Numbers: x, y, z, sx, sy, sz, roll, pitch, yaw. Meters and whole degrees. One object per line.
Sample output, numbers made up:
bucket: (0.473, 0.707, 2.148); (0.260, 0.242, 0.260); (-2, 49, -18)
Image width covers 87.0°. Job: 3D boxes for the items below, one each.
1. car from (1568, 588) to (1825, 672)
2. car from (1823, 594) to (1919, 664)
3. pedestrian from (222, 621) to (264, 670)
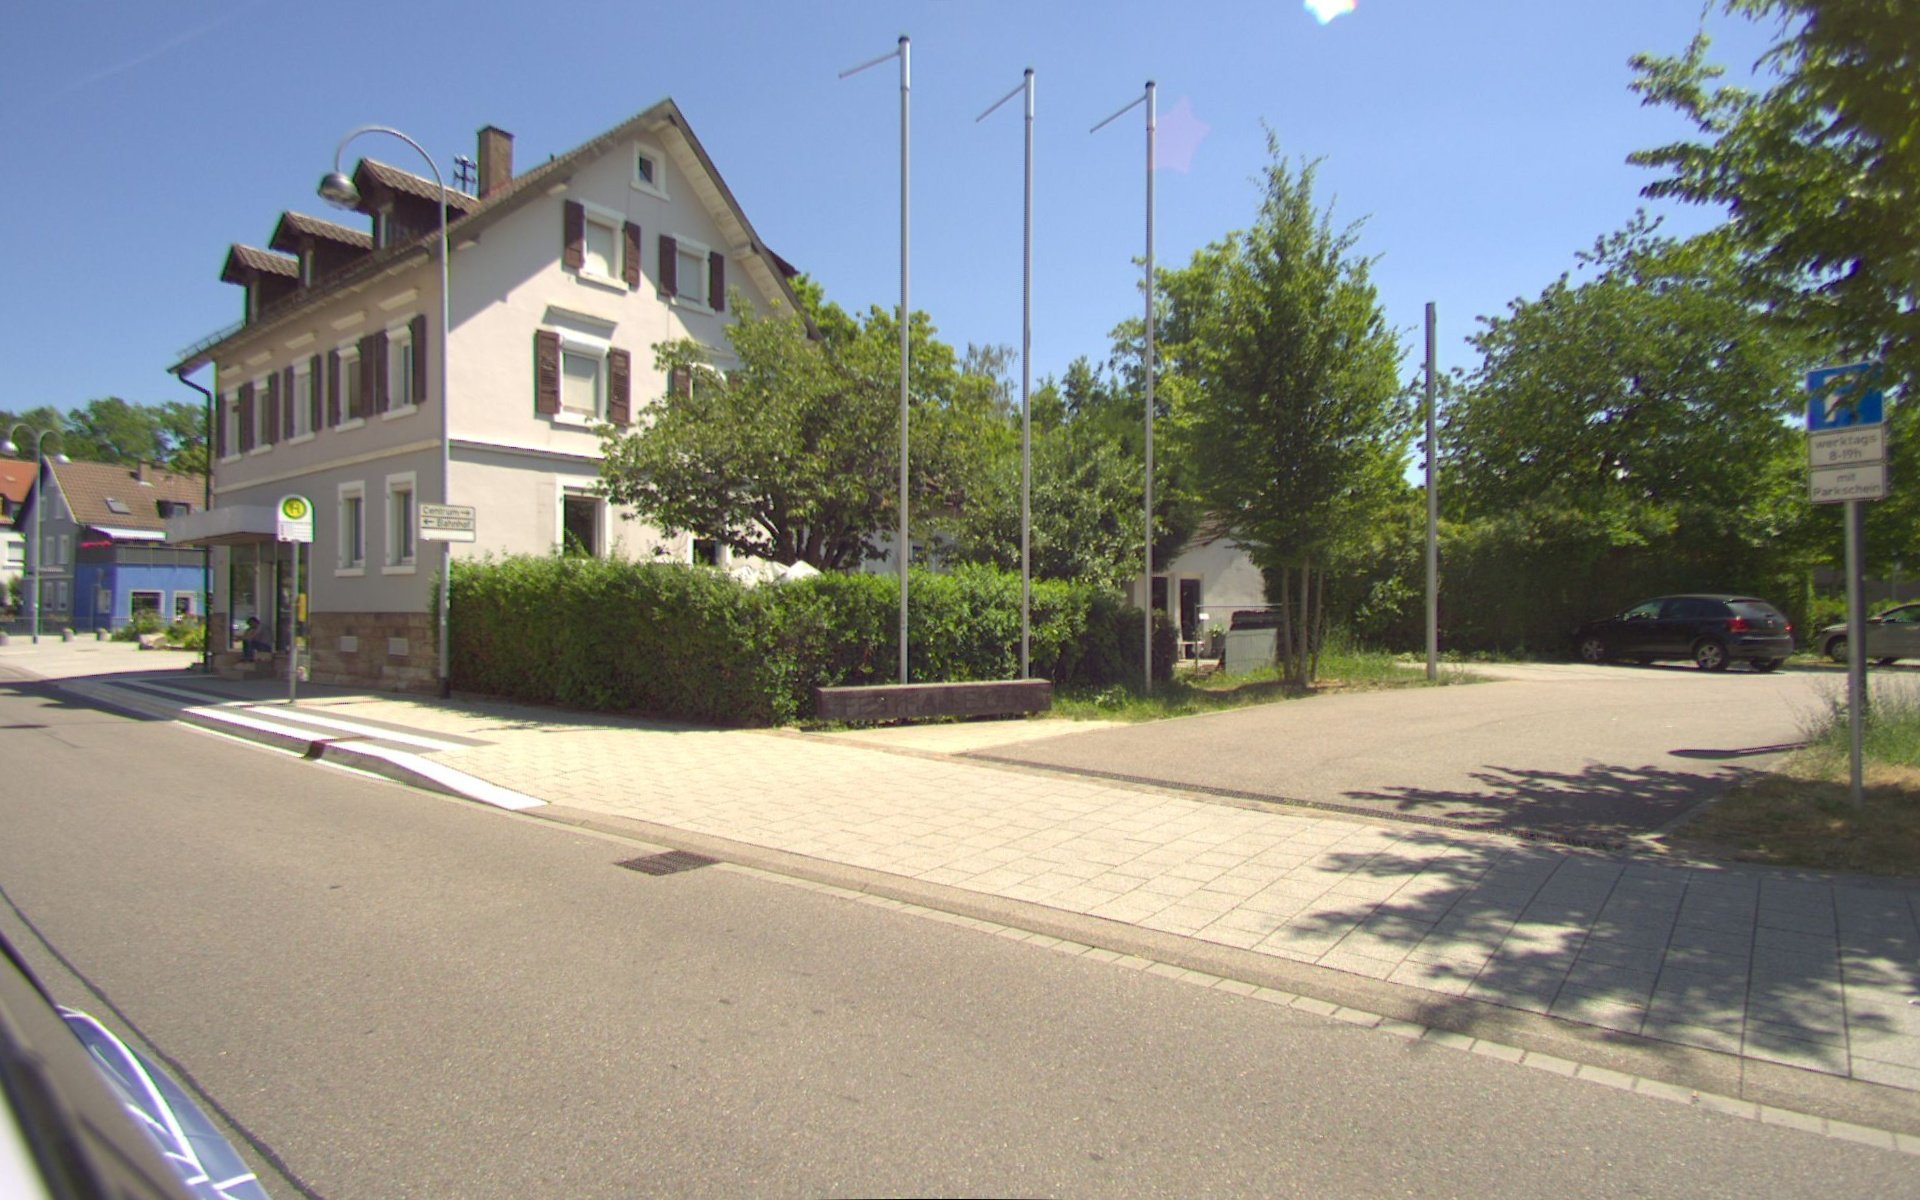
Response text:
car: (14.427, 0.553, 20.069); (1.662, 1.503, 3.779); (0, -1, -23)
car: (21.227, 0.611, 21.711); (1.662, 1.503, 3.779); (0, -1, -18)
pedestrian: (-15.809, 0.993, 22.318); (0.566, 1.067, 0.591); (-1, -1, 36)
